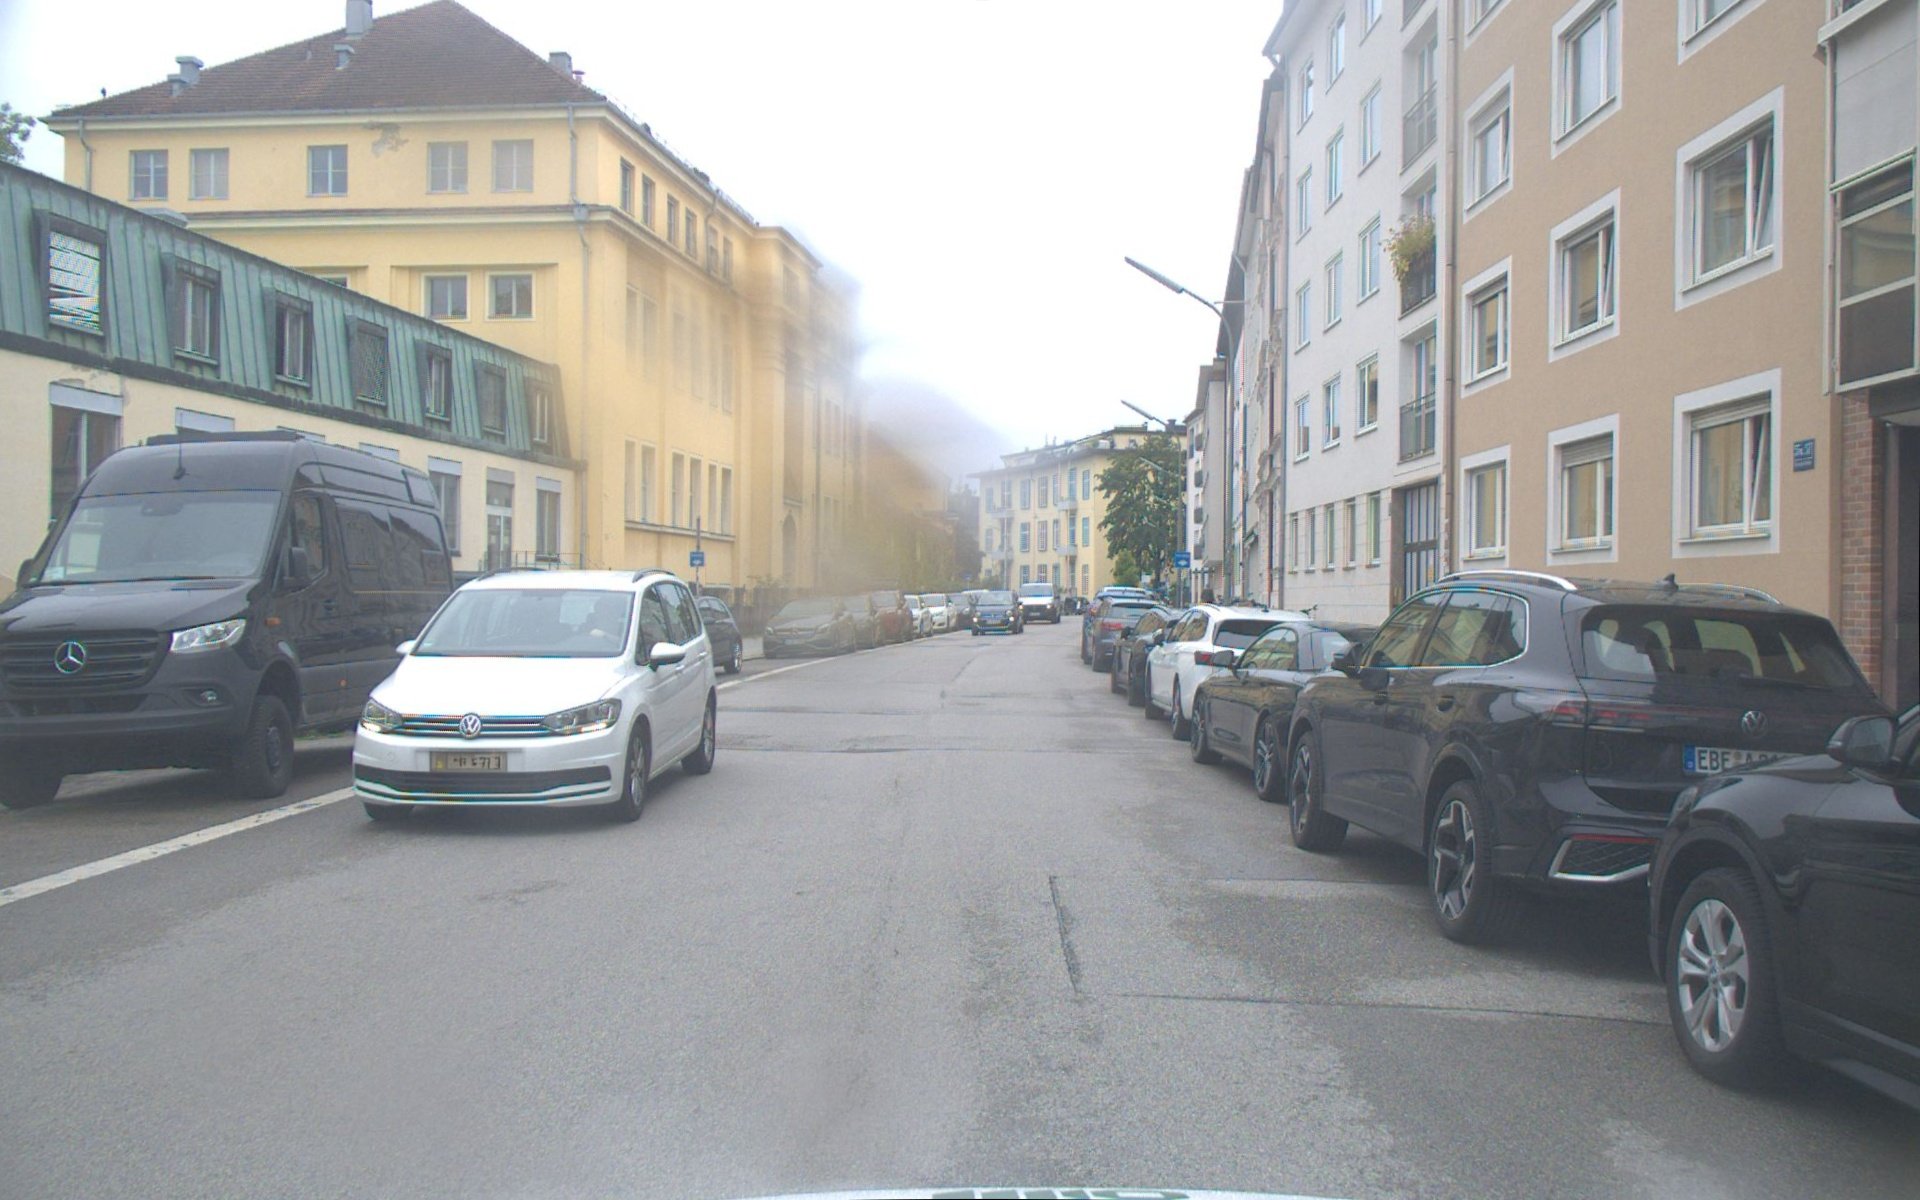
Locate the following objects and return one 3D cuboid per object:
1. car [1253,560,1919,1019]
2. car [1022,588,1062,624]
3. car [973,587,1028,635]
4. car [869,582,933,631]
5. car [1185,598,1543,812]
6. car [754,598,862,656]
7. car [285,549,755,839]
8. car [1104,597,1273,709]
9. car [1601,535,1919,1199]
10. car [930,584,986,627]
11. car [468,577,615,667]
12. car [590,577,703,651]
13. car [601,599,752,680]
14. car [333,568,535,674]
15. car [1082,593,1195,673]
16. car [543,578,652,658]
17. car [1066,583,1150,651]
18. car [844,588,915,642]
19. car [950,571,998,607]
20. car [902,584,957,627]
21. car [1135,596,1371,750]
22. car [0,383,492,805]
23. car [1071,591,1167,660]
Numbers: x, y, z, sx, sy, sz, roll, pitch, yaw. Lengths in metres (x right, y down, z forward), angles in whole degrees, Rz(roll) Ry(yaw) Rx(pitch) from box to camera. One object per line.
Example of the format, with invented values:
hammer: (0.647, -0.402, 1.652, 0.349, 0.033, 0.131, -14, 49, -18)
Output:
car: (2.978, 0.657, 8.449, 1.925, 1.629, 4.670, 2, 2, -2)
car: (3.799, 0.261, 76.324, 1.662, 1.469, 3.511, 2, 2, 5)
car: (1.428, 0.357, 57.586, 1.662, 1.469, 3.511, 2, 2, 5)
car: (-1.956, 0.185, 55.464, 1.662, 1.469, 3.511, 2, 2, 5)
car: (3.180, 0.753, 13.958, 1.849, 1.345, 4.274, 2, 2, -1)
car: (-3.628, 0.613, 40.231, 1.859, 1.167, 4.233, 2, 2, 5)
car: (-2.857, 0.591, 11.910, 1.983, 1.650, 4.506, -1, -1, 2)
car: (3.317, 0.728, 24.862, 1.849, 1.434, 4.430, 2, 0, -1)
car: (3.277, 0.699, 3.771, 1.793, 1.629, 4.265, 2, 2, -2)
car: (-0.046, 0.201, 68.551, 1.952, 1.575, 4.003, 2, 2, 4)
car: (-8.718, 0.405, 34.739, 1.683, 1.689, 3.751, 2, 2, 7)
car: (-7.865, 0.301, 41.820, 1.683, 1.689, 3.751, 2, 2, 7)
car: (-4.998, 0.664, 29.621, 1.496, 1.222, 3.745, 2, 2, 9)
car: (-9.481, 0.315, 30.181, 1.951, 1.716, 4.004, 2, 2, 7)
car: (3.559, 0.618, 33.723, 1.848, 1.434, 4.431, 2, 0, 1)
car: (-8.344, 0.382, 38.248, 1.571, 1.689, 2.811, 2, 1, 7)
car: (3.917, 0.423, 44.385, 1.848, 1.658, 4.431, 2, 0, 1)
car: (-2.391, 0.425, 49.921, 1.662, 1.469, 3.511, 2, 2, 5)
car: (0.697, -0.545, 78.132, 1.952, 1.575, 4.003, 2, 2, 4)
car: (-1.121, 0.170, 62.925, 1.662, 1.469, 3.511, 2, 2, 5)
car: (3.267, 0.747, 19.402, 1.849, 1.501, 4.743, 2, 0, -1)
car: (-5.956, -0.025, 13.849, 2.372, 2.762, 5.952, -1, 0, 0)
car: (3.649, 0.548, 38.656, 1.848, 1.434, 4.431, 2, 0, 1)
